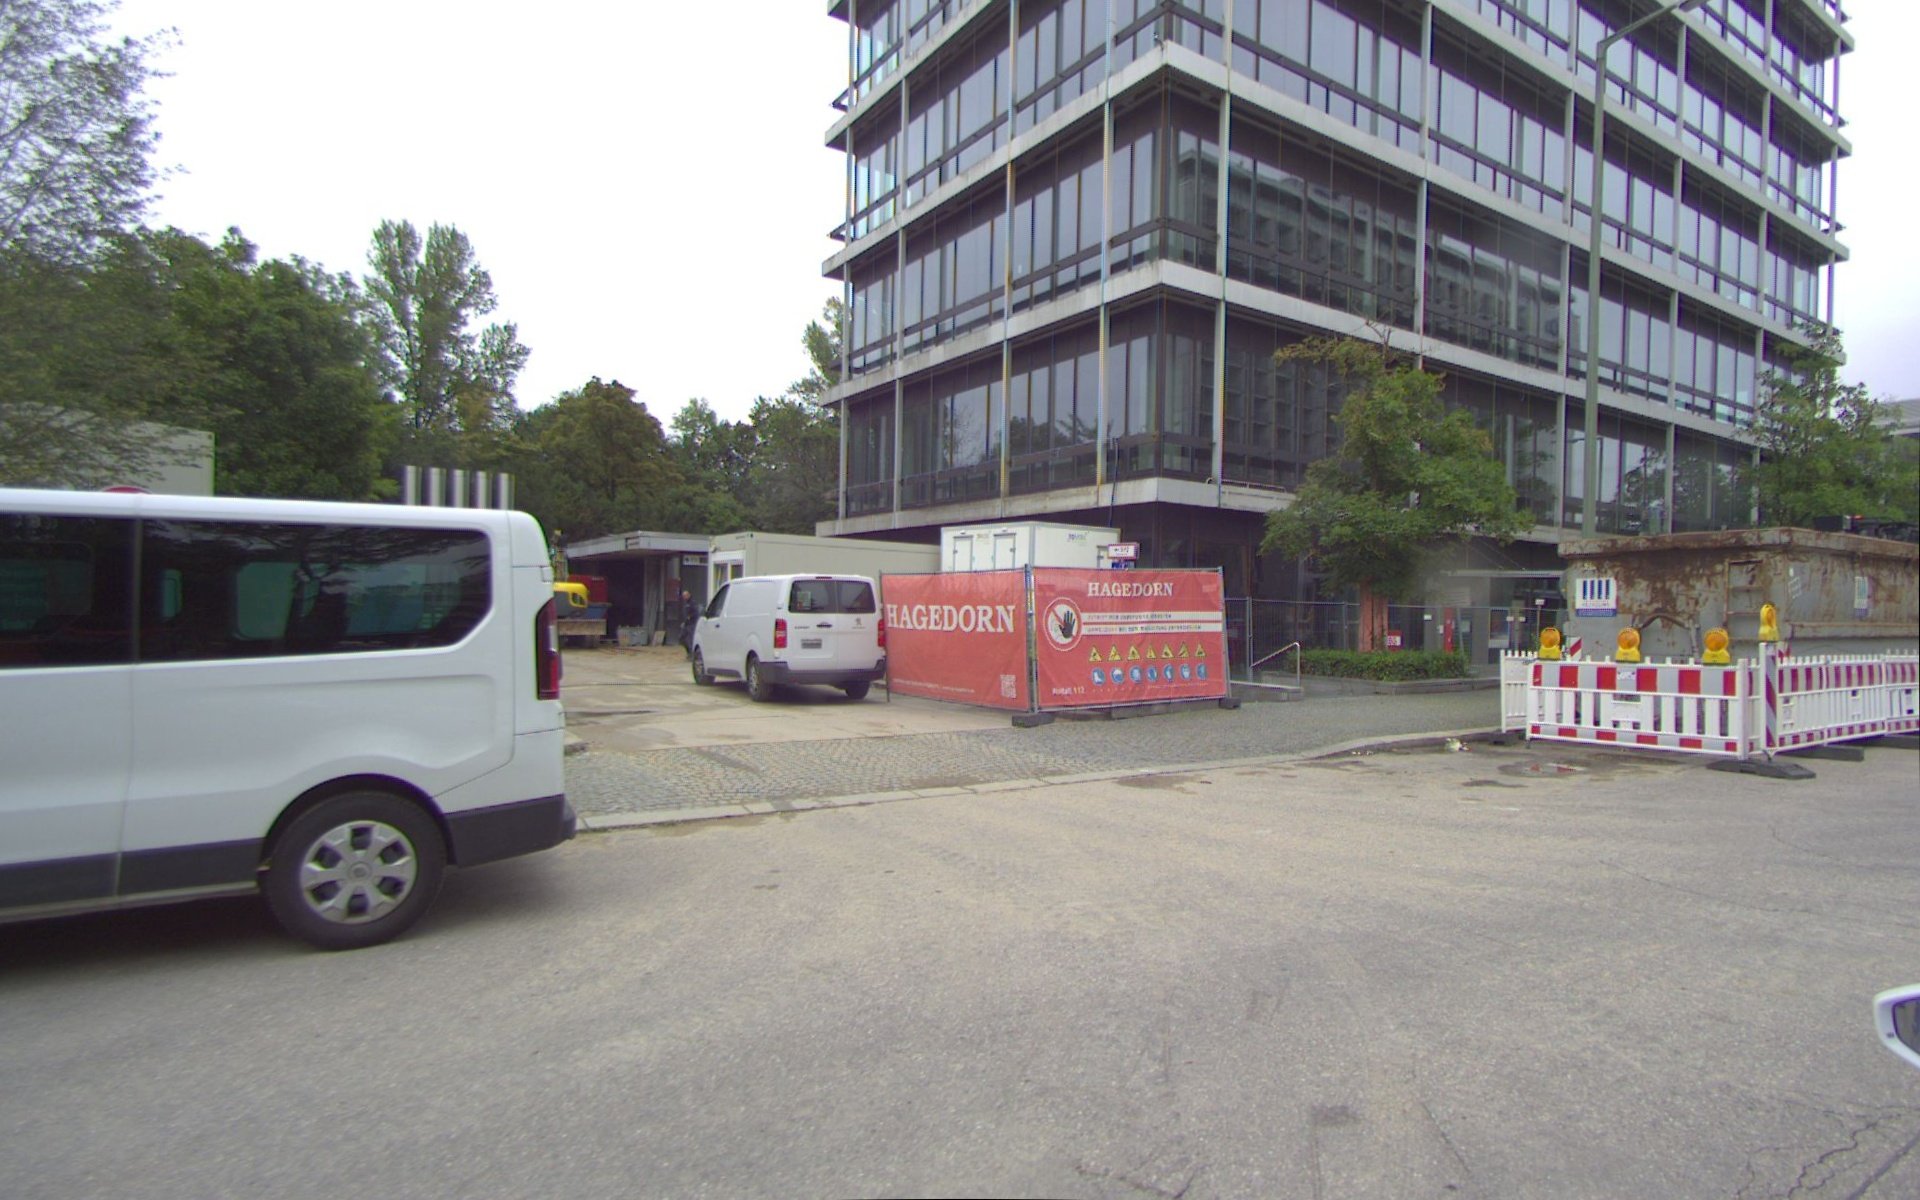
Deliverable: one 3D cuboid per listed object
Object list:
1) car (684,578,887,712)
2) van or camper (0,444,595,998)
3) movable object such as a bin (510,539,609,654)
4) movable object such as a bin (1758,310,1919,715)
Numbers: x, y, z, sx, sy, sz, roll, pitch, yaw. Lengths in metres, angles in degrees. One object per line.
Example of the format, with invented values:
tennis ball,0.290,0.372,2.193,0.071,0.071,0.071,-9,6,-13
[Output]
car,-3.040,0.640,16.625,1.762,1.890,4.675,1,0,-30
van or camper,-4.619,0.459,4.287,5.519,2.061,1.980,1,-1,-30
movable object such as a bin,-13.925,-0.092,34.780,2.550,3.676,4.568,2,-1,-29
movable object such as a bin,20.183,-1.291,20.310,11.662,6.651,2.886,2,0,-34
